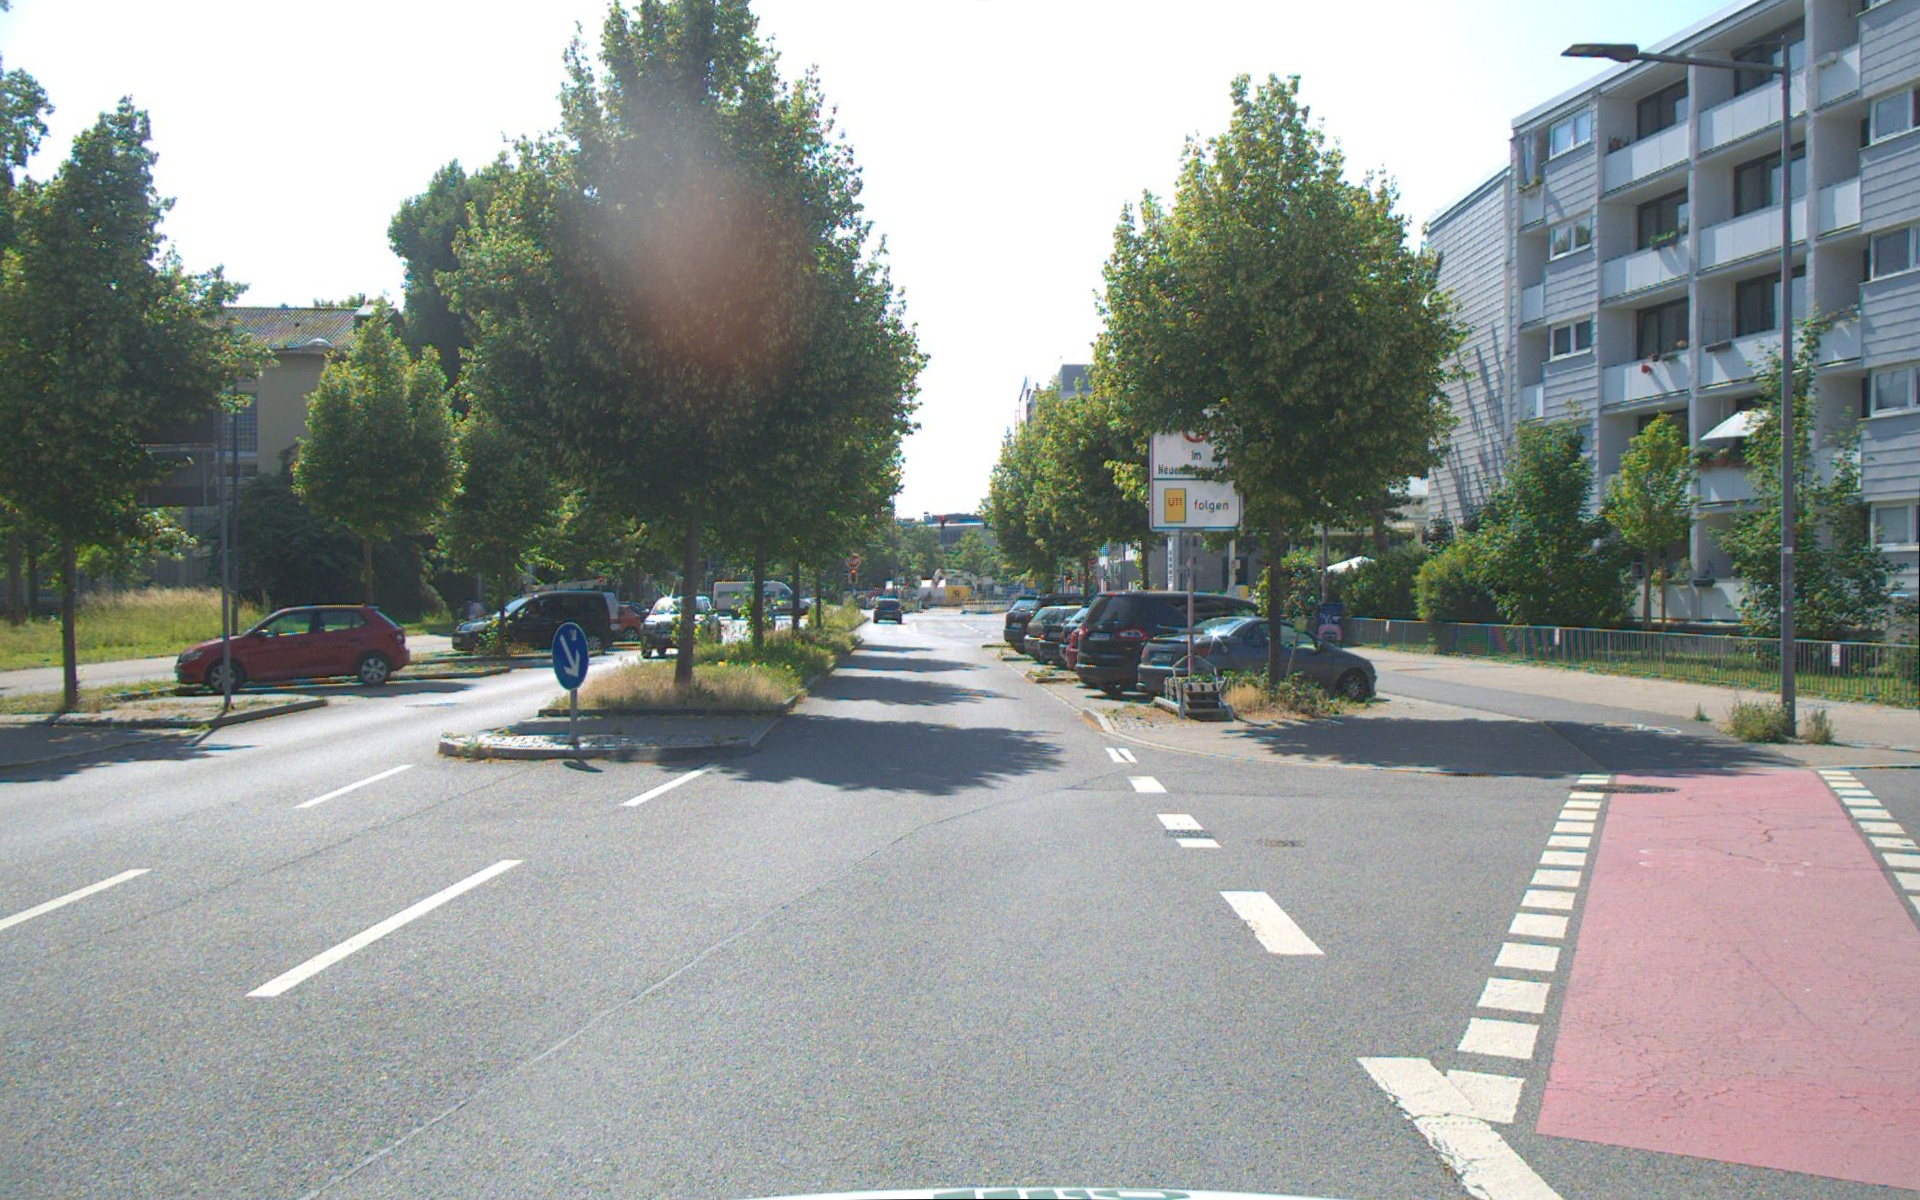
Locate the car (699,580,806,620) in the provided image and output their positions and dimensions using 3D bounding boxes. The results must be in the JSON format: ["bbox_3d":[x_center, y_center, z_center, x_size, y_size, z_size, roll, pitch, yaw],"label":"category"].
[{"bbox_3d":[-14.463,-0.037,115.709,7.284,2.721,2.900,0,1,-5],"label":"car"}]

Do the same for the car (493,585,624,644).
[{"bbox_3d":[-12.632,0.453,52.012,3.717,1.803,1.803,0,0,-27],"label":"car"}]

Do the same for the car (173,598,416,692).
[{"bbox_3d":[-12.053,0.773,30.093,3.933,1.492,1.986,-2,1,-23],"label":"car"}]

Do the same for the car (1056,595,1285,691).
[{"bbox_3d":[3.904,0.765,30.552,3.950,1.669,1.859,0,-2,-33],"label":"car"}]

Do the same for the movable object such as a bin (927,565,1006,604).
[{"bbox_3d":[0.788,-1.864,201.660,9.477,4.629,3.164,0,0,0],"label":"movable object such as a bin"}]

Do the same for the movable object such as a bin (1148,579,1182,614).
[{"bbox_3d":[9.829,-0.180,79.387,1.282,1.620,1.394,-3,0,-4],"label":"movable object such as a bin"}]

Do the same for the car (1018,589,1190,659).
[{"bbox_3d":[3.546,0.566,40.897,3.919,1.668,1.746,0,0,-14],"label":"car"}]

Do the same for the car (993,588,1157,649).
[{"bbox_3d":[3.328,0.500,47.340,4.693,1.689,1.731,0,0,-36],"label":"car"}]

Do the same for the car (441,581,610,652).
[{"bbox_3d":[-12.079,0.420,46.071,4.149,1.848,1.975,-1,1,-40],"label":"car"}]

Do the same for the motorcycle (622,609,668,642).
[{"bbox_3d":[-12.948,1.047,68.083,1.811,1.307,0.691,0,0,-9],"label":"motorcycle"}]

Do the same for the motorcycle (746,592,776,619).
[{"bbox_3d":[-7.645,0.199,63.649,0.904,1.010,2.234,0,0,-1],"label":"motorcycle"}]

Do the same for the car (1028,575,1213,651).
[{"bbox_3d":[3.700,0.272,38.079,3.934,1.668,1.740,0,1,-24],"label":"car"}]

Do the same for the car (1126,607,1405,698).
[{"bbox_3d":[4.612,0.741,24.897,3.941,1.258,1.737,0,0,-28],"label":"car"}]

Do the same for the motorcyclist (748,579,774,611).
[{"bbox_3d":[-7.654,-0.193,63.706,0.882,1.242,1.061,0,0,-1],"label":"motorcyclist"}]

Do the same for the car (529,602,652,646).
[{"bbox_3d":[-12.709,0.798,56.926,3.803,1.448,1.692,0,0,-38],"label":"car"}]

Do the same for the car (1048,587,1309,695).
[{"bbox_3d":[3.675,0.620,27.597,4.073,1.668,2.019,0,0,-36],"label":"car"}]

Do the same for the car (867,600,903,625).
[{"bbox_3d":[-4.509,0.729,98.849,1.955,1.422,3.996,0,0,-5],"label":"car"}]

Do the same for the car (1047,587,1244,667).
[{"bbox_3d":[4.030,0.556,36.020,3.930,1.668,1.789,0,0,-21],"label":"car"}]

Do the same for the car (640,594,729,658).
[{"bbox_3d":[-7.249,0.665,43.840,1.706,1.574,4.072,-1,0,-1],"label":"car"}]
